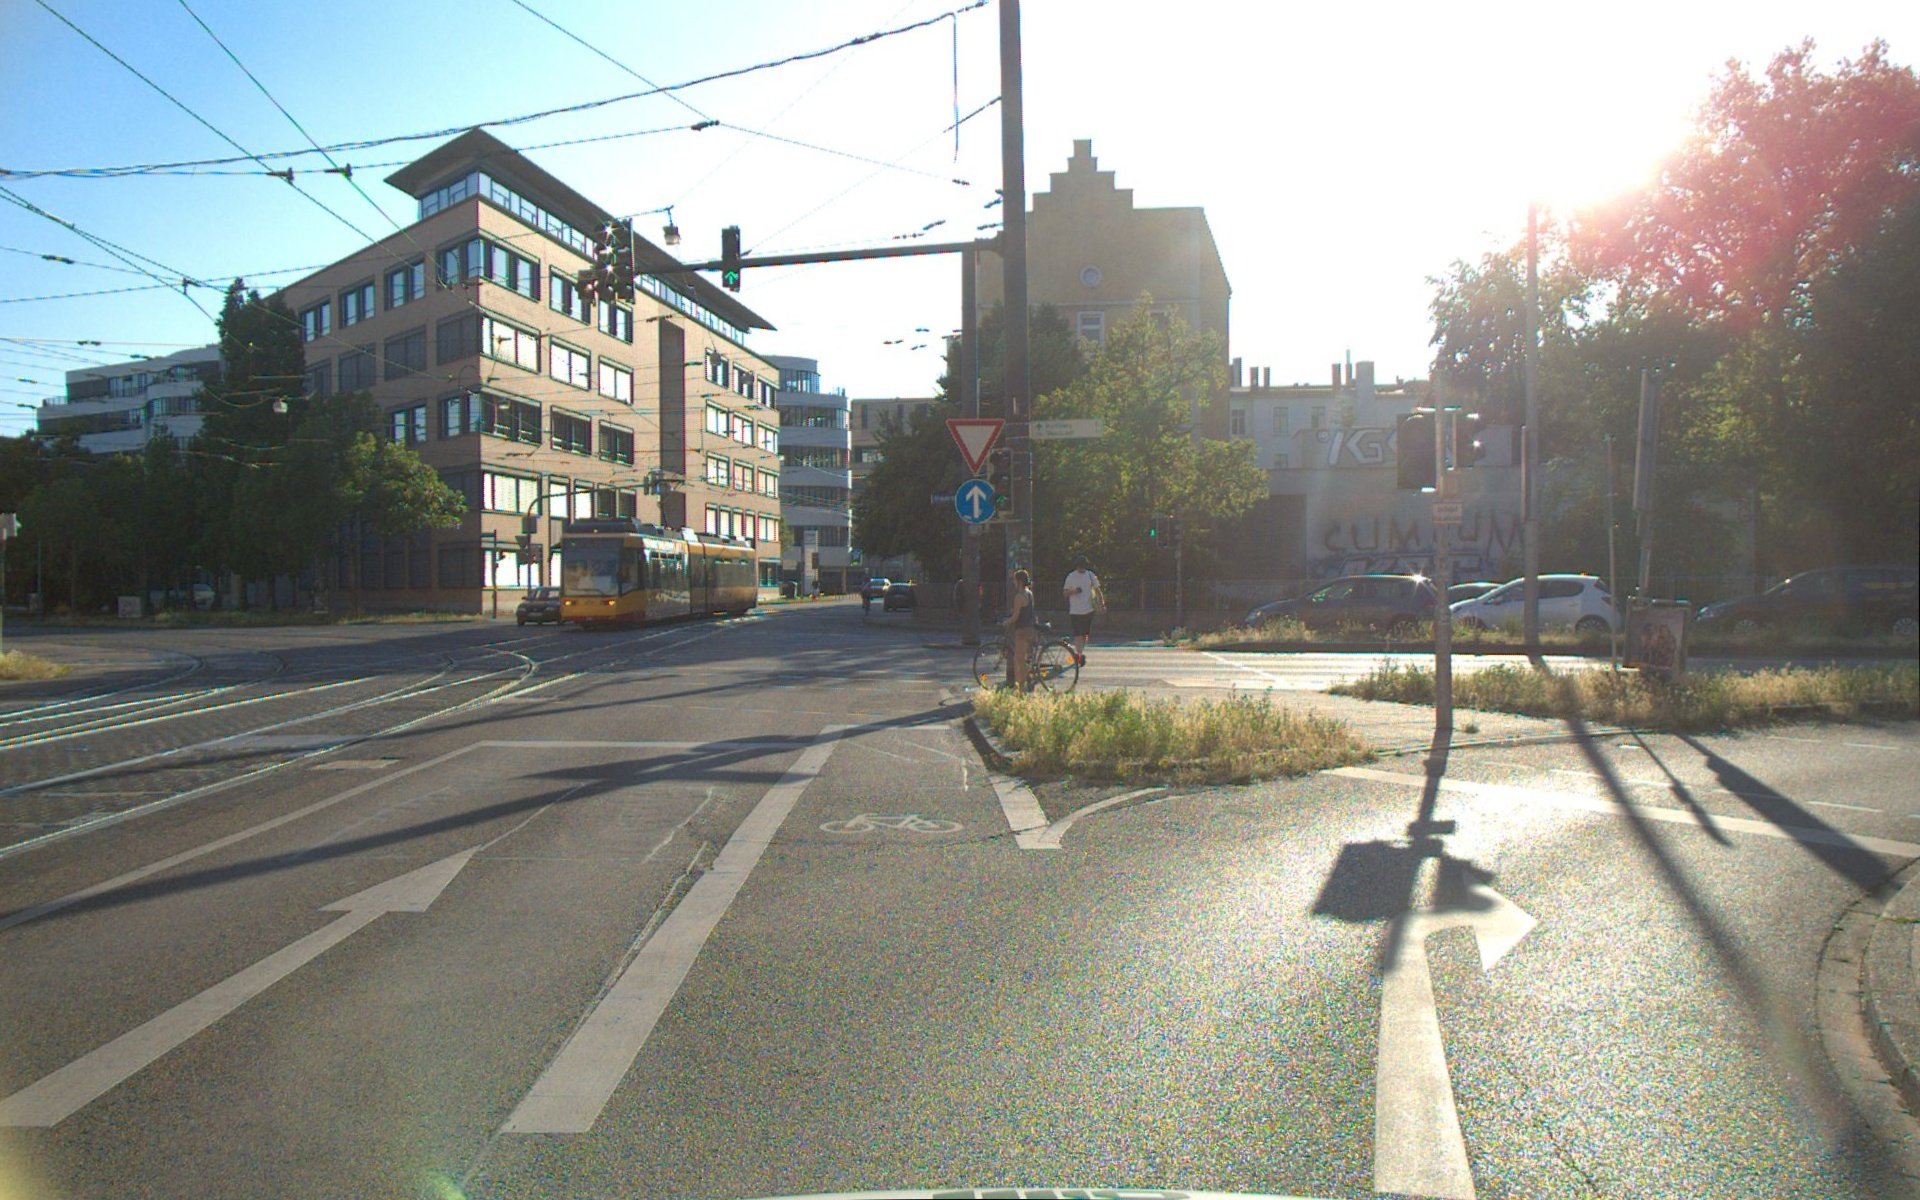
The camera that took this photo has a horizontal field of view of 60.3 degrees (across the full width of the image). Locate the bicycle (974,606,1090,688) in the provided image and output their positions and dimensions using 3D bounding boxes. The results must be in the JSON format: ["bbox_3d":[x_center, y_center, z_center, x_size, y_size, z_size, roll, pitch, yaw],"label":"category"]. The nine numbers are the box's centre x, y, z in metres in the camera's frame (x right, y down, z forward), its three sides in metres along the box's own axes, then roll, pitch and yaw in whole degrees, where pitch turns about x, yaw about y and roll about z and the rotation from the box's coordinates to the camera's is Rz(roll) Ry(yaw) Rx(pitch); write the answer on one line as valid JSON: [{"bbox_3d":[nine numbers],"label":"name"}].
[{"bbox_3d":[0.940,0.608,21.929,1.641,1.047,0.397,0,0,41],"label":"bicycle"}]

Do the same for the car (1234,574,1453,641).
[{"bbox_3d":[7.886,0.155,34.053,4.149,1.319,1.724,0,0,24],"label":"car"}]

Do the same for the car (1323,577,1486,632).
[{"bbox_3d":[11.112,0.118,41.324,3.801,1.319,1.725,0,0,20],"label":"car"}]

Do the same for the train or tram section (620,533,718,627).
[{"bbox_3d":[-11.470,-0.782,65.725,2.801,3.569,5.305,-1,0,1],"label":"train or tram section"}]

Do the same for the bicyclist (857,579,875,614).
[{"bbox_3d":[-4.234,-0.158,74.405,0.659,1.548,0.814,0,0,9],"label":"bicyclist"}]

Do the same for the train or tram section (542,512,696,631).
[{"bbox_3d":[-11.364,-0.900,56.644,2.802,3.569,13.012,-1,0,-1],"label":"train or tram section"}]

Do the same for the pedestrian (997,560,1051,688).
[{"bbox_3d":[0.848,0.306,21.799,0.516,1.660,0.487,-1,0,41],"label":"pedestrian"}]

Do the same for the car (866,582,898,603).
[{"bbox_3d":[-6.216,-0.633,132.282,1.777,1.643,4.469,-1,0,7],"label":"car"}]

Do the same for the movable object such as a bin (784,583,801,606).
[{"bbox_3d":[-12.307,-0.421,121.519,1.043,1.657,0.890,-1,0,6],"label":"movable object such as a bin"}]

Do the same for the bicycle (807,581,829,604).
[{"bbox_3d":[-10.452,-0.524,122.079,1.008,1.680,2.562,-1,0,10],"label":"bicycle"}]

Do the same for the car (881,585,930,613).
[{"bbox_3d":[-2.802,-0.063,85.697,1.747,1.412,4.004,0,0,10],"label":"car"}]

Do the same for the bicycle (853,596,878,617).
[{"bbox_3d":[-4.236,0.280,74.355,0.680,0.892,2.028,0,0,9],"label":"bicycle"}]

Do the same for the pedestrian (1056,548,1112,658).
[{"bbox_3d":[2.104,0.045,27.981,0.889,1.820,0.828,-1,0,7],"label":"pedestrian"}]

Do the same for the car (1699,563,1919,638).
[{"bbox_3d":[15.979,0.018,30.407,4.273,1.319,1.724,0,0,22],"label":"car"}]

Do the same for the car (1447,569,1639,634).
[{"bbox_3d":[12.577,0.037,35.776,3.801,1.342,1.725,0,0,20],"label":"car"}]

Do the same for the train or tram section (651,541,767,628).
[{"bbox_3d":[-11.032,-0.661,73.937,2.800,3.569,11.302,-1,0,3],"label":"train or tram section"}]

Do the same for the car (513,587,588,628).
[{"bbox_3d":[-14.742,0.252,59.765,1.772,1.404,4.161,-1,0,-2],"label":"car"}]

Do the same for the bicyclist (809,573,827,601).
[{"bbox_3d":[-10.478,-0.937,121.985,1.008,2.049,1.248,1,-1,9],"label":"bicyclist"}]
